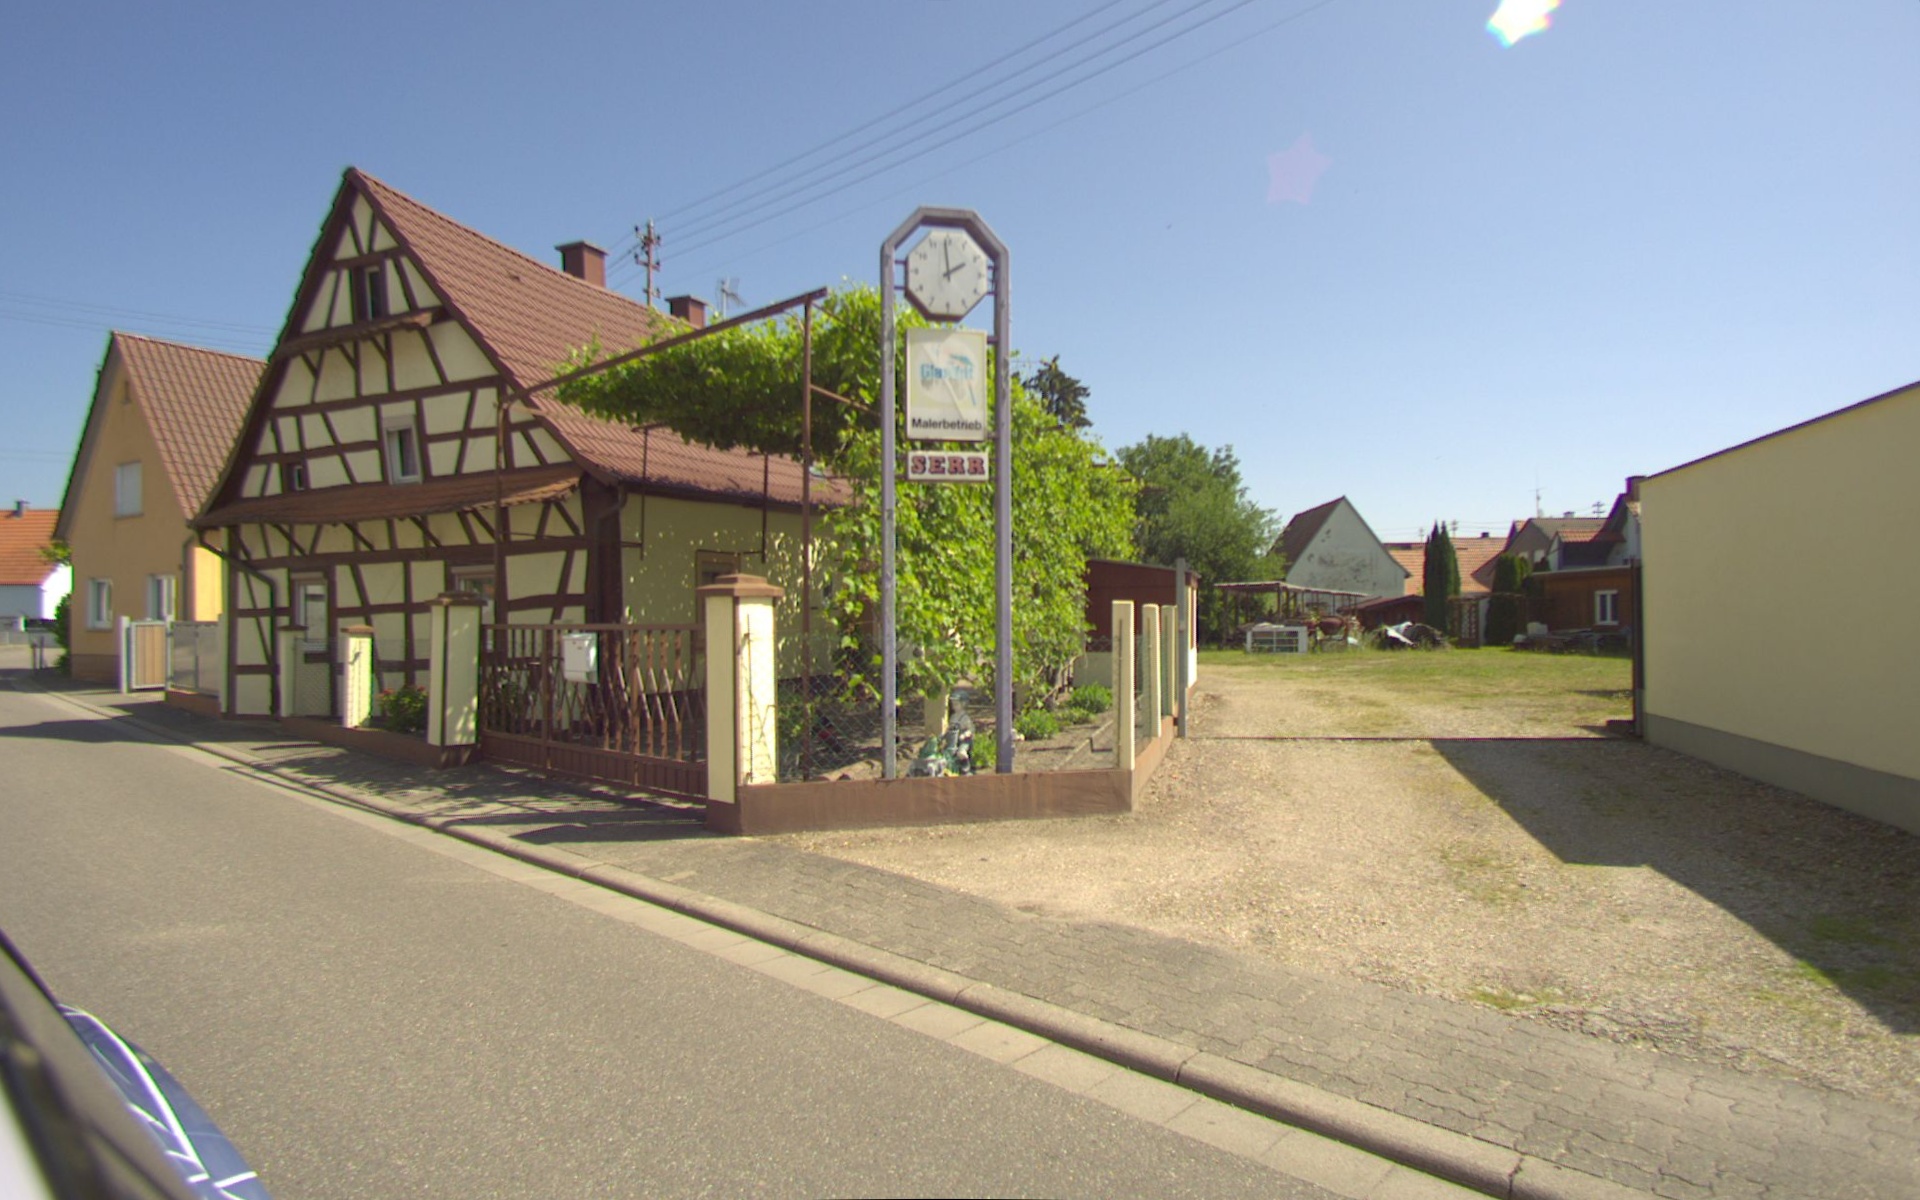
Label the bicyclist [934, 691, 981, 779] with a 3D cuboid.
[{"bbox_3d":[-0.019,0.960,7.235,0.243,0.586,0.219,-1,0,-34],"label":"bicyclist"}]

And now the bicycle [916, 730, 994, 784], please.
[{"bbox_3d":[-0.035,1.114,7.221,0.526,0.307,0.220,0,0,-34],"label":"bicycle"}]

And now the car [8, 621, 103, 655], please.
[{"bbox_3d":[-51.824,2.145,58.036,3.944,1.859,1.702,-1,-1,1],"label":"car"}]
